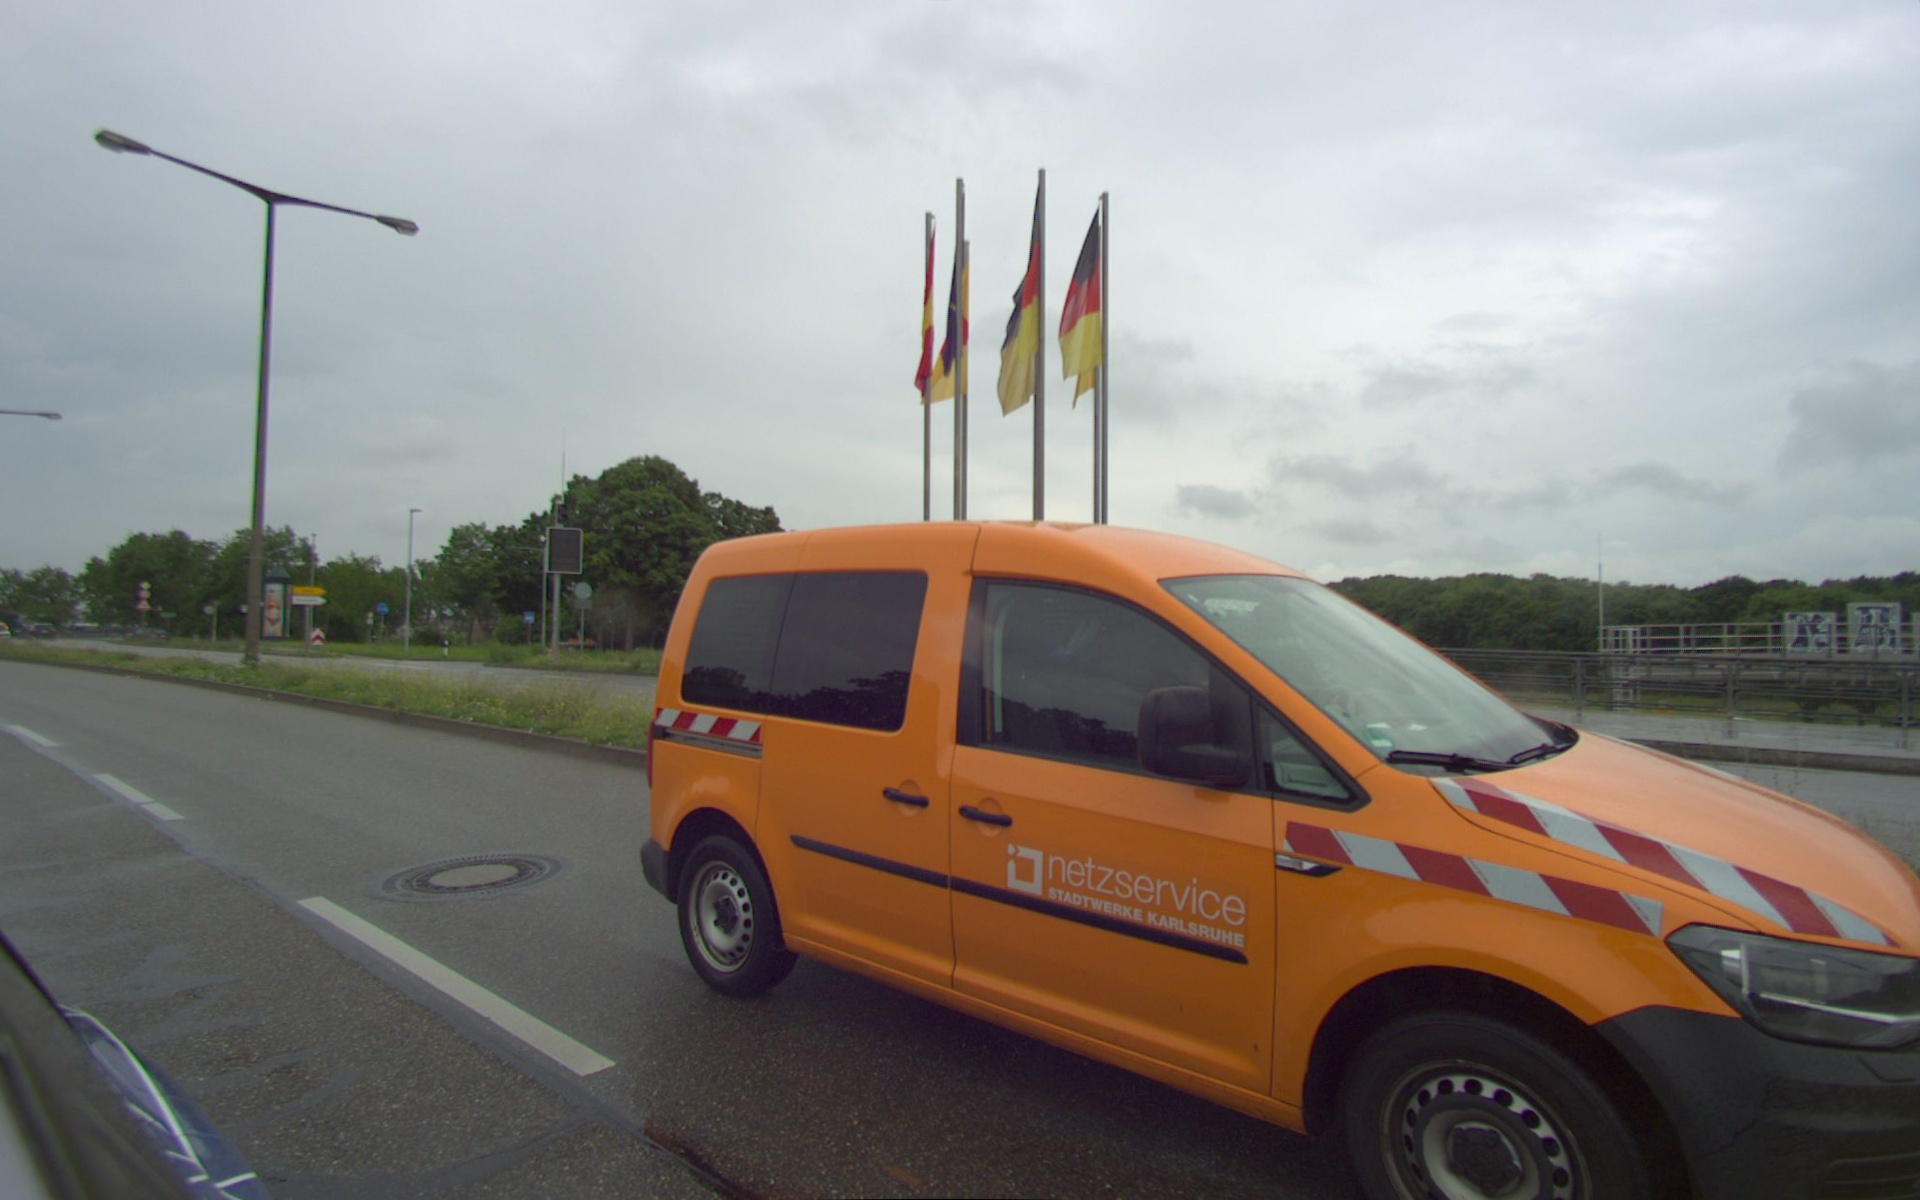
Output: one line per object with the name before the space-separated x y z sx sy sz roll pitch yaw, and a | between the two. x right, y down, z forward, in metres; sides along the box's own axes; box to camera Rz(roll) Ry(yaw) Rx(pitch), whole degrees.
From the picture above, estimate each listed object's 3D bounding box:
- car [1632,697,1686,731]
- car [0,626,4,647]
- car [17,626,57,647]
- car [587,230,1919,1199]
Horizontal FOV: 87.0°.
car | 67.862 11.014 98.379 2.713 2.792 5.776 -1 -2 18
car | -76.618 2.861 79.333 4.026 1.634 1.828 -1 -2 38
car | -80.300 3.125 88.022 4.024 1.764 1.828 -1 -2 37
car | 0.783 0.413 3.384 4.847 2.034 1.716 1 1 41
